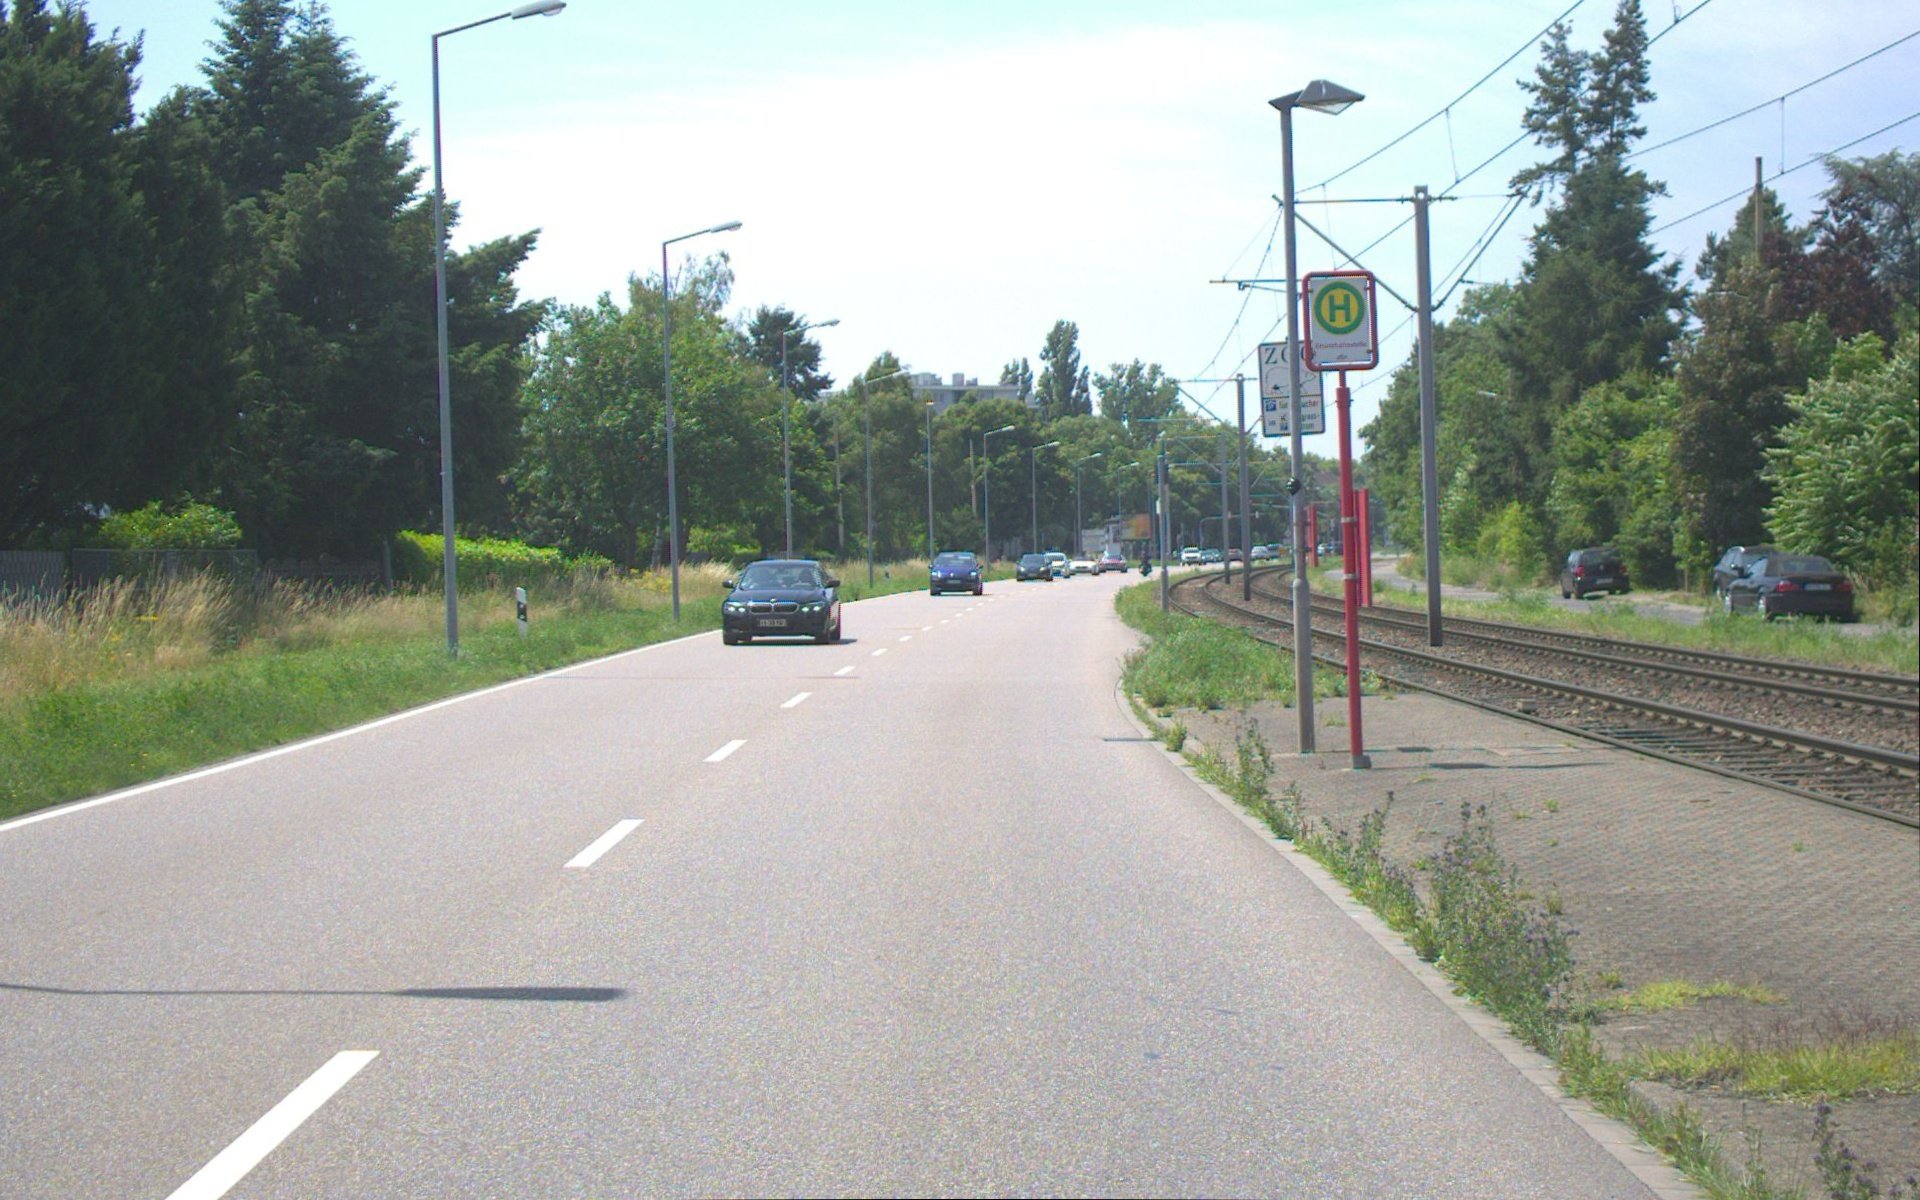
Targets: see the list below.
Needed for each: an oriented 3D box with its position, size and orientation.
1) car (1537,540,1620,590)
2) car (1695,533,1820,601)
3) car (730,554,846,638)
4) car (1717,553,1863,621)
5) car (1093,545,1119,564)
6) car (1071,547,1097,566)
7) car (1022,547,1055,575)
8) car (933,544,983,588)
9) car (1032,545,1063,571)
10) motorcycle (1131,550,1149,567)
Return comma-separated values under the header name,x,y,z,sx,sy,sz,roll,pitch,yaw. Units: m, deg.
name,x,y,z,sx,sy,sz,roll,pitch,yaw
car,18.420,-1.045,102.486,1.914,1.465,4.000,0,1,3
car,19.129,-0.796,82.663,1.934,1.555,4.556,0,1,0
car,-2.966,-0.090,60.052,1.706,1.400,4.707,0,1,1
car,16.729,-0.276,69.473,1.861,1.325,4.515,0,1,0
car,10.266,-3.176,241.896,1.749,1.296,4.253,0,1,3
car,8.033,-2.826,222.513,1.682,1.245,3.909,0,1,3
car,4.264,-2.129,186.698,1.700,1.486,4.440,0,1,3
car,-0.069,-1.296,129.543,1.747,1.626,4.030,0,1,2
car,5.190,-2.501,203.066,1.747,1.498,3.707,0,1,3
motorcycle,11.478,-2.636,218.911,0.970,1.114,2.732,0,1,7
